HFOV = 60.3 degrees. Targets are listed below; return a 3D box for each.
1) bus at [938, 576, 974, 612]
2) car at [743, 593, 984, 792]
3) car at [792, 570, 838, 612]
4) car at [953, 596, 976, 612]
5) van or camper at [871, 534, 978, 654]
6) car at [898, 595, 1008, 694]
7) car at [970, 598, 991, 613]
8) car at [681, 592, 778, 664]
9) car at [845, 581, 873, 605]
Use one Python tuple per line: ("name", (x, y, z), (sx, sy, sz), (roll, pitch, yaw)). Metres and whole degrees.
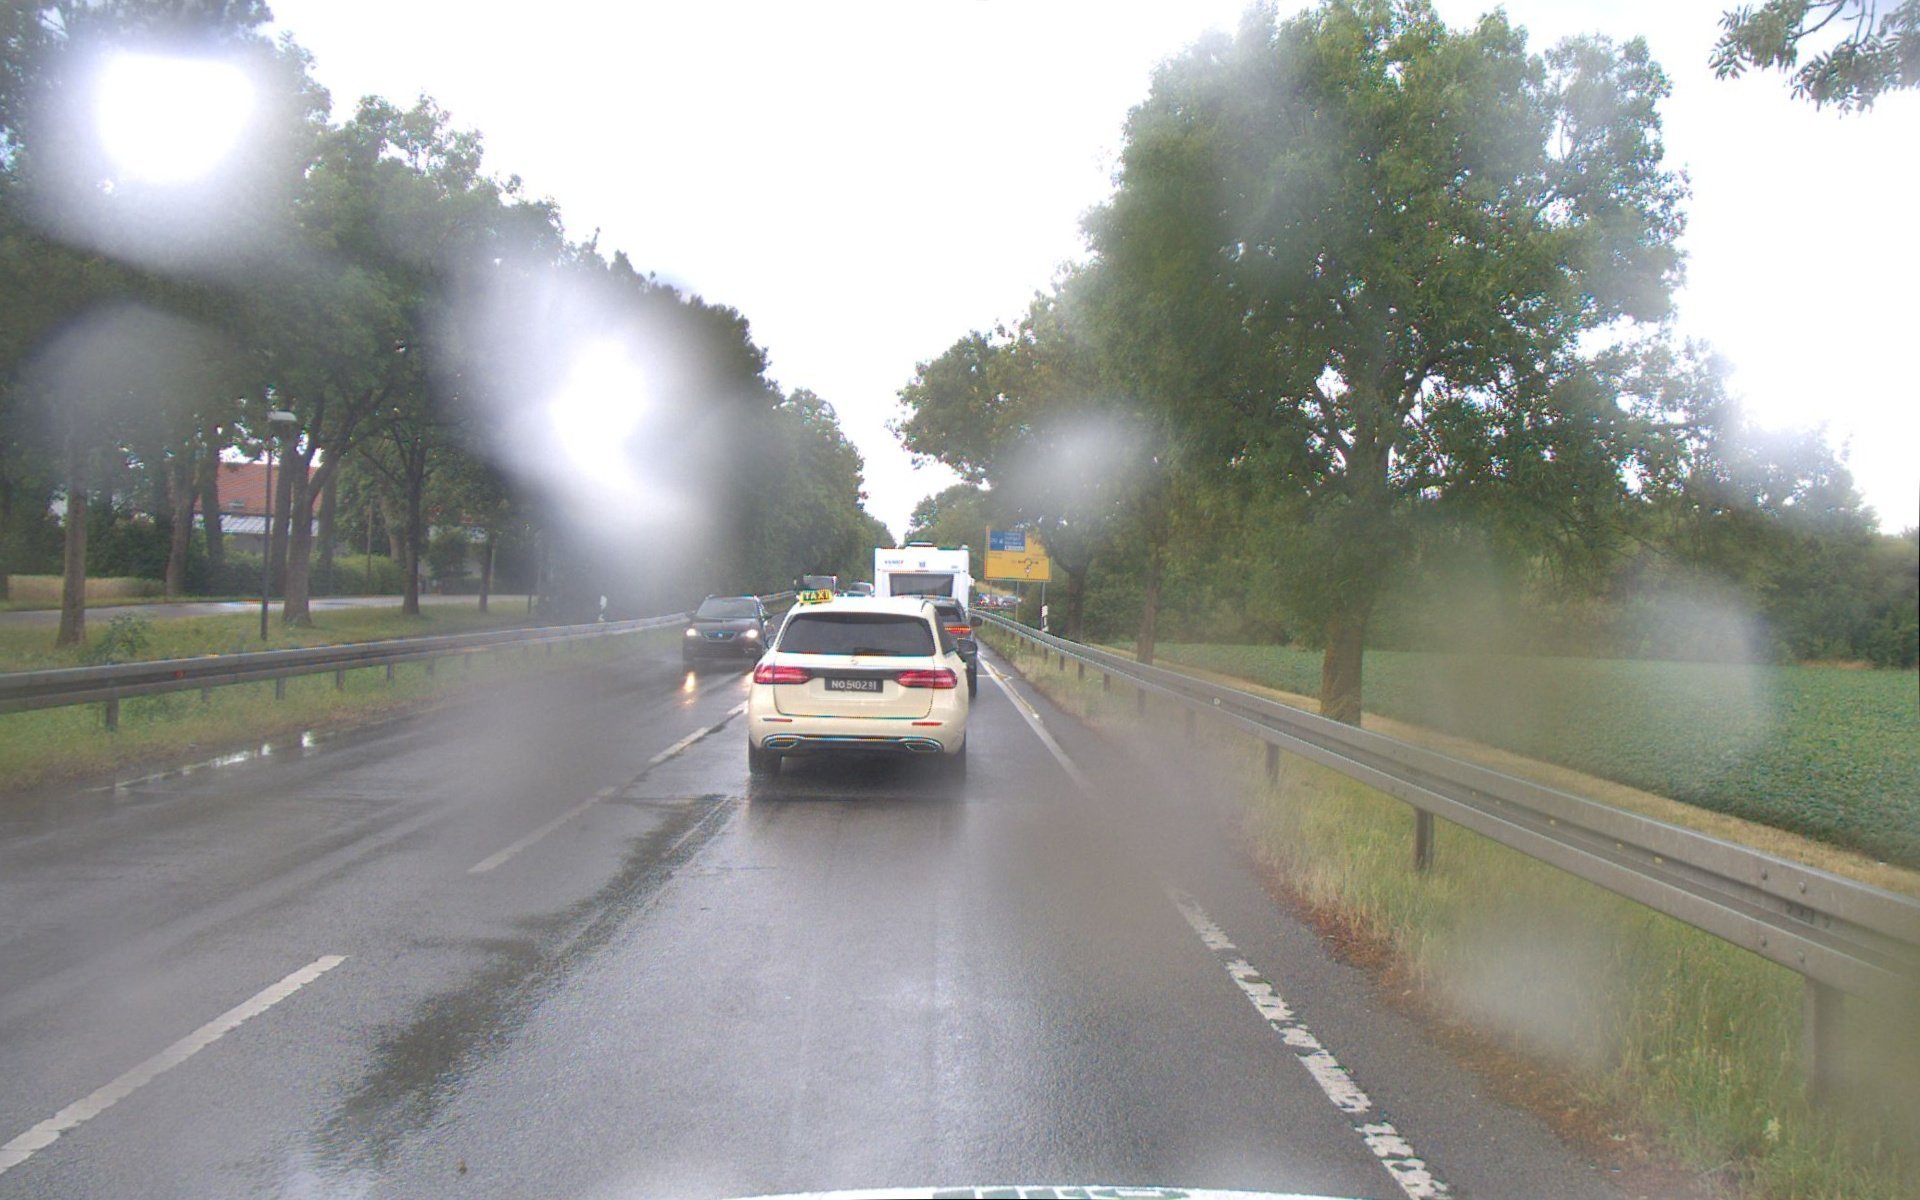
("bus", (-0.243, -0.349, 95.082), (1.953, 2.049, 3.999), (0, 0, -2))
("car", (-0.733, 0.699, 14.592), (1.826, 1.502, 4.000), (1, 0, 0))
("car", (-6.639, -0.403, 76.031), (1.791, 1.834, 4.413), (0, 0, -2))
("car", (0.290, 0.279, 118.468), (1.520, 1.138, 3.999), (1, 0, -2))
("van or camper", (-0.816, -0.144, 41.329), (2.438, 2.732, 5.700), (1, 0, 0))
("car", (-0.106, 0.658, 26.558), (1.630, 1.456, 4.000), (1, 0, 0))
("car", (1.578, 0.442, 127.962), (1.520, 1.138, 4.000), (1, 0, 0))
("car", (-5.065, 0.584, 36.777), (1.679, 1.476, 4.110), (1, 0, -2))
("car", (-6.284, -0.432, 102.949), (1.595, 1.463, 3.959), (1, 0, -1))
